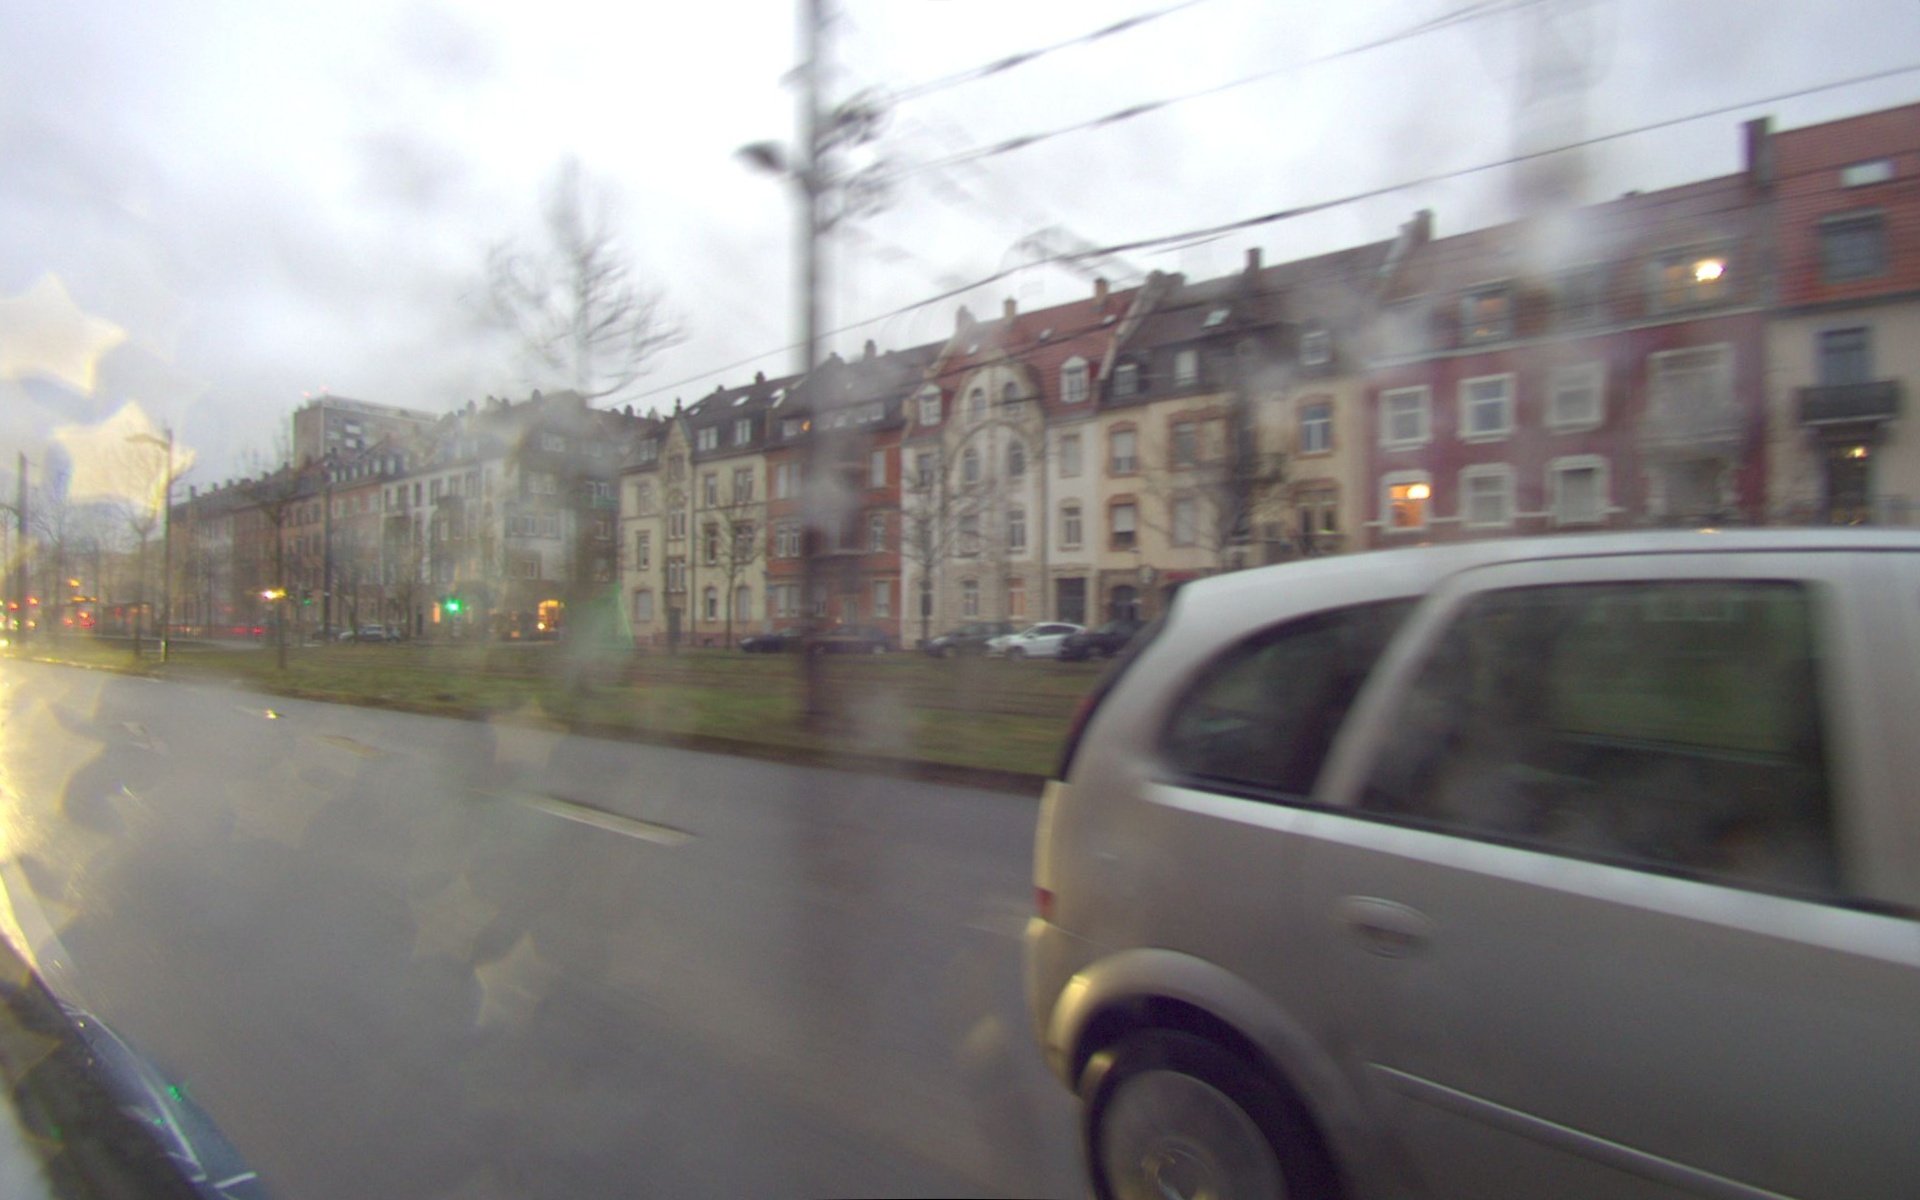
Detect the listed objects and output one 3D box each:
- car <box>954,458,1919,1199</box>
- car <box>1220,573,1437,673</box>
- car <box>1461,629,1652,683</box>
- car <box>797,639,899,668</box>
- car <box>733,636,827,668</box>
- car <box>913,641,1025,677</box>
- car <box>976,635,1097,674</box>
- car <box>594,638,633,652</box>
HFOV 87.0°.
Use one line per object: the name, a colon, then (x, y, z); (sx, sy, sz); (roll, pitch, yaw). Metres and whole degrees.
car: (2.090, 0.622, 1.741); (4.052, 1.612, 1.790); (-1, -1, 41)
car: (10.904, 0.703, 30.095); (5.773, 2.819, 2.004); (1, -2, -9)
car: (15.397, 1.439, 26.222); (3.933, 1.342, 2.005); (1, -2, -13)
car: (-4.609, 2.186, 41.512); (3.934, 1.178, 2.005); (1, -2, -12)
car: (-7.978, 2.293, 44.791); (3.932, 1.342, 2.005); (1, -2, -14)
car: (0.323, 2.261, 39.082); (3.932, 1.342, 2.005); (1, -2, -15)
car: (2.758, 1.961, 36.736); (3.932, 1.342, 2.006); (1, -2, -16)
car: (-29.039, 3.789, 84.910); (1.330, 1.083, 2.861); (-1, -3, 39)
